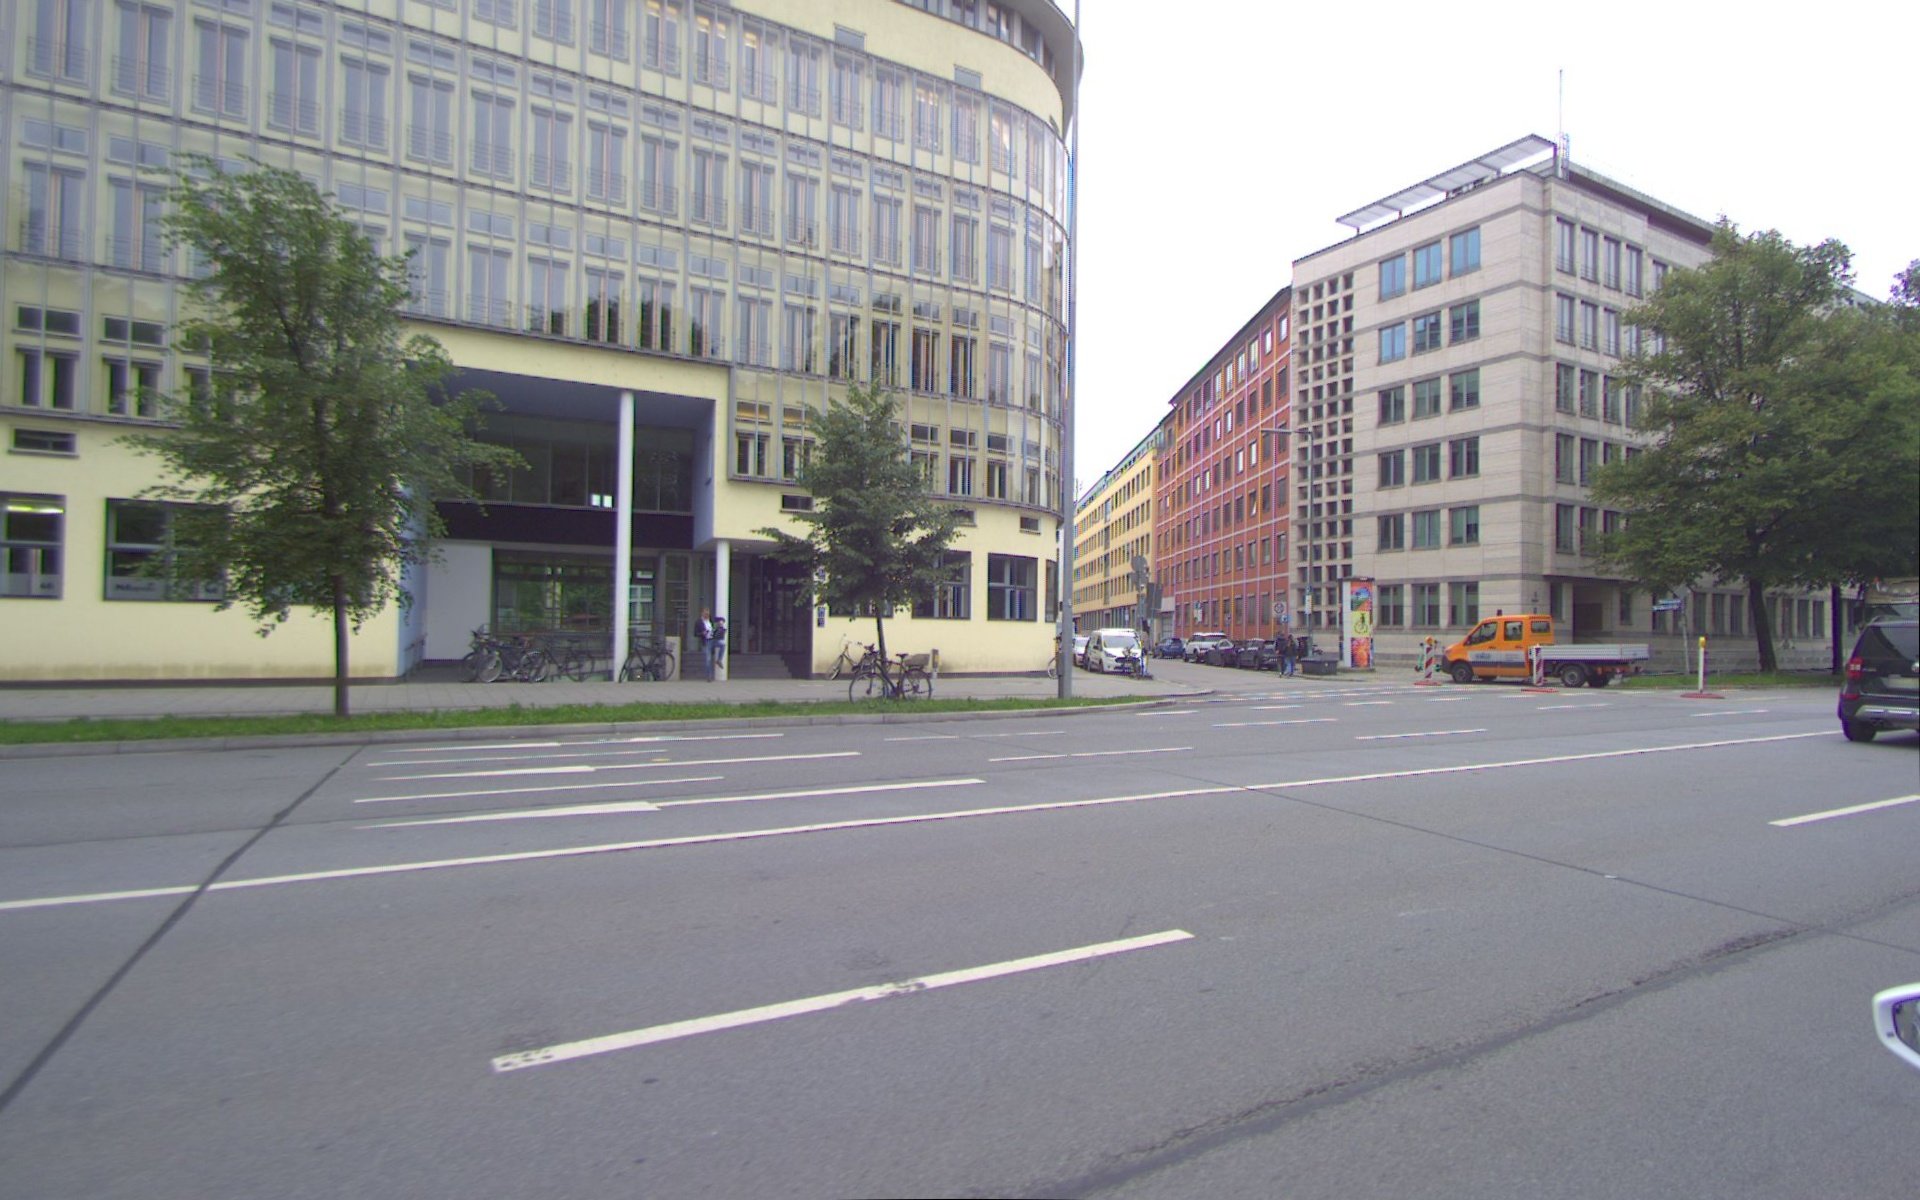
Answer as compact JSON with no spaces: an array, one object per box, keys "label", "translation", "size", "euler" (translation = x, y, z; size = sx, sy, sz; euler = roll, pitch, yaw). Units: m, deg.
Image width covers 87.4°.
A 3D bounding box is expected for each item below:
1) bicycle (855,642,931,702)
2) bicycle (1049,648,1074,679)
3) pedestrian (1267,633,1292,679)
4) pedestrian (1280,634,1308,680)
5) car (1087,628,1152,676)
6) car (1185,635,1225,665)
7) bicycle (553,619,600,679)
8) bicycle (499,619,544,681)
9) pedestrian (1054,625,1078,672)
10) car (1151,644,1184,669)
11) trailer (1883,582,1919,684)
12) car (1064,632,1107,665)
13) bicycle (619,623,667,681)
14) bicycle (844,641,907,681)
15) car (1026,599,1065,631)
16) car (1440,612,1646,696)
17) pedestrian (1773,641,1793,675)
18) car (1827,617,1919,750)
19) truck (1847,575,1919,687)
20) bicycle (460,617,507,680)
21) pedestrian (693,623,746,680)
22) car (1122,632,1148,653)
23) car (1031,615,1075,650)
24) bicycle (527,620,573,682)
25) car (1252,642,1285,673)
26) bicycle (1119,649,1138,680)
[{"label":"bicycle","translation":[-1.188,1.289,18.026],"size":[1.370,1.026,0.279],"euler":[2,-1,-34]},{"label":"bicycle","translation":[3.187,1.966,31.316],"size":[0.574,0.889,1.738],"euler":[1,-2,12]},{"label":"pedestrian","translation":[12.903,2.270,40.581],"size":[0.665,1.798,0.680],"euler":[2,0,-25]},{"label":"pedestrian","translation":[13.309,2.277,40.069],"size":[0.773,1.798,0.680],"euler":[2,0,-25]},{"label":"car","translation":[6.315,2.045,40.167],"size":[1.833,1.773,4.330],"euler":[1,-2,-1]},{"label":"car","translation":[14.114,2.859,58.041],"size":[1.460,1.686,3.184],"euler":[1,-2,-2]},{"label":"bicycle","translation":[-9.222,1.145,24.114],"size":[0.569,1.336,1.995],"euler":[2,-1,-34]},{"label":"bicycle","translation":[-10.236,1.147,23.427],"size":[0.569,1.336,1.995],"euler":[2,-1,-34]},{"label":"pedestrian","translation":[4.109,1.882,38.979],"size":[0.798,1.756,0.995],"euler":[2,0,1]},{"label":"car","translation":[14.145,3.868,68.599],"size":[1.460,1.611,3.184],"euler":[1,-2,-2]},{"label":"trailer","translation":[40.871,1.432,40.360],"size":[11.649,3.790,2.931],"euler":[2,-1,-34]},{"label":"car","translation":[5.979,2.295,48.111],"size":[1.460,1.517,3.965],"euler":[1,-2,-1]},{"label":"bicycle","translation":[-7.922,1.278,25.051],"size":[0.569,1.336,1.995],"euler":[2,-1,-34]},{"label":"bicycle","translation":[-2.253,1.625,26.776],"size":[1.577,1.026,0.569],"euler":[2,-1,-34]},{"label":"car","translation":[4.966,0.914,58.608],"size":[1.834,1.773,4.000],"euler":[1,-2,-2]},{"label":"car","translation":[19.396,1.756,33.724],"size":[2.133,2.570,5.648],"euler":[2,-2,-33]},{"label":"pedestrian","translation":[43.716,3.086,53.370],"size":[0.755,1.755,0.576],"euler":[2,0,-29]},{"label":"car","translation":[13.689,1.124,13.612],"size":[4.156,1.658,1.714],"euler":[3,-2,-30]},{"label":"truck","translation":[35.642,1.187,36.787],"size":[7.586,3.825,2.898],"euler":[2,-1,-34]},{"label":"bicycle","translation":[-10.995,1.092,23.146],"size":[0.632,1.336,1.995],"euler":[2,-1,-34]},{"label":"pedestrian","translation":[-5.966,1.274,24.913],"size":[1.073,1.382,0.834],"euler":[2,-2,-30]},{"label":"car","translation":[13.906,3.378,79.827],"size":[1.460,1.611,3.184],"euler":[1,-2,-2]},{"label":"car","translation":[4.927,1.753,53.498],"size":[1.834,1.773,4.000],"euler":[1,-2,-2]},{"label":"bicycle","translation":[-9.713,1.181,23.741],"size":[0.569,1.336,1.995],"euler":[2,-1,-34]},{"label":"car","translation":[14.735,2.728,47.831],"size":[1.442,1.393,3.240],"euler":[1,-2,18]},{"label":"bicycle","translation":[5.982,2.271,35.638],"size":[0.574,1.034,1.847],"euler":[1,-2,12]}]
